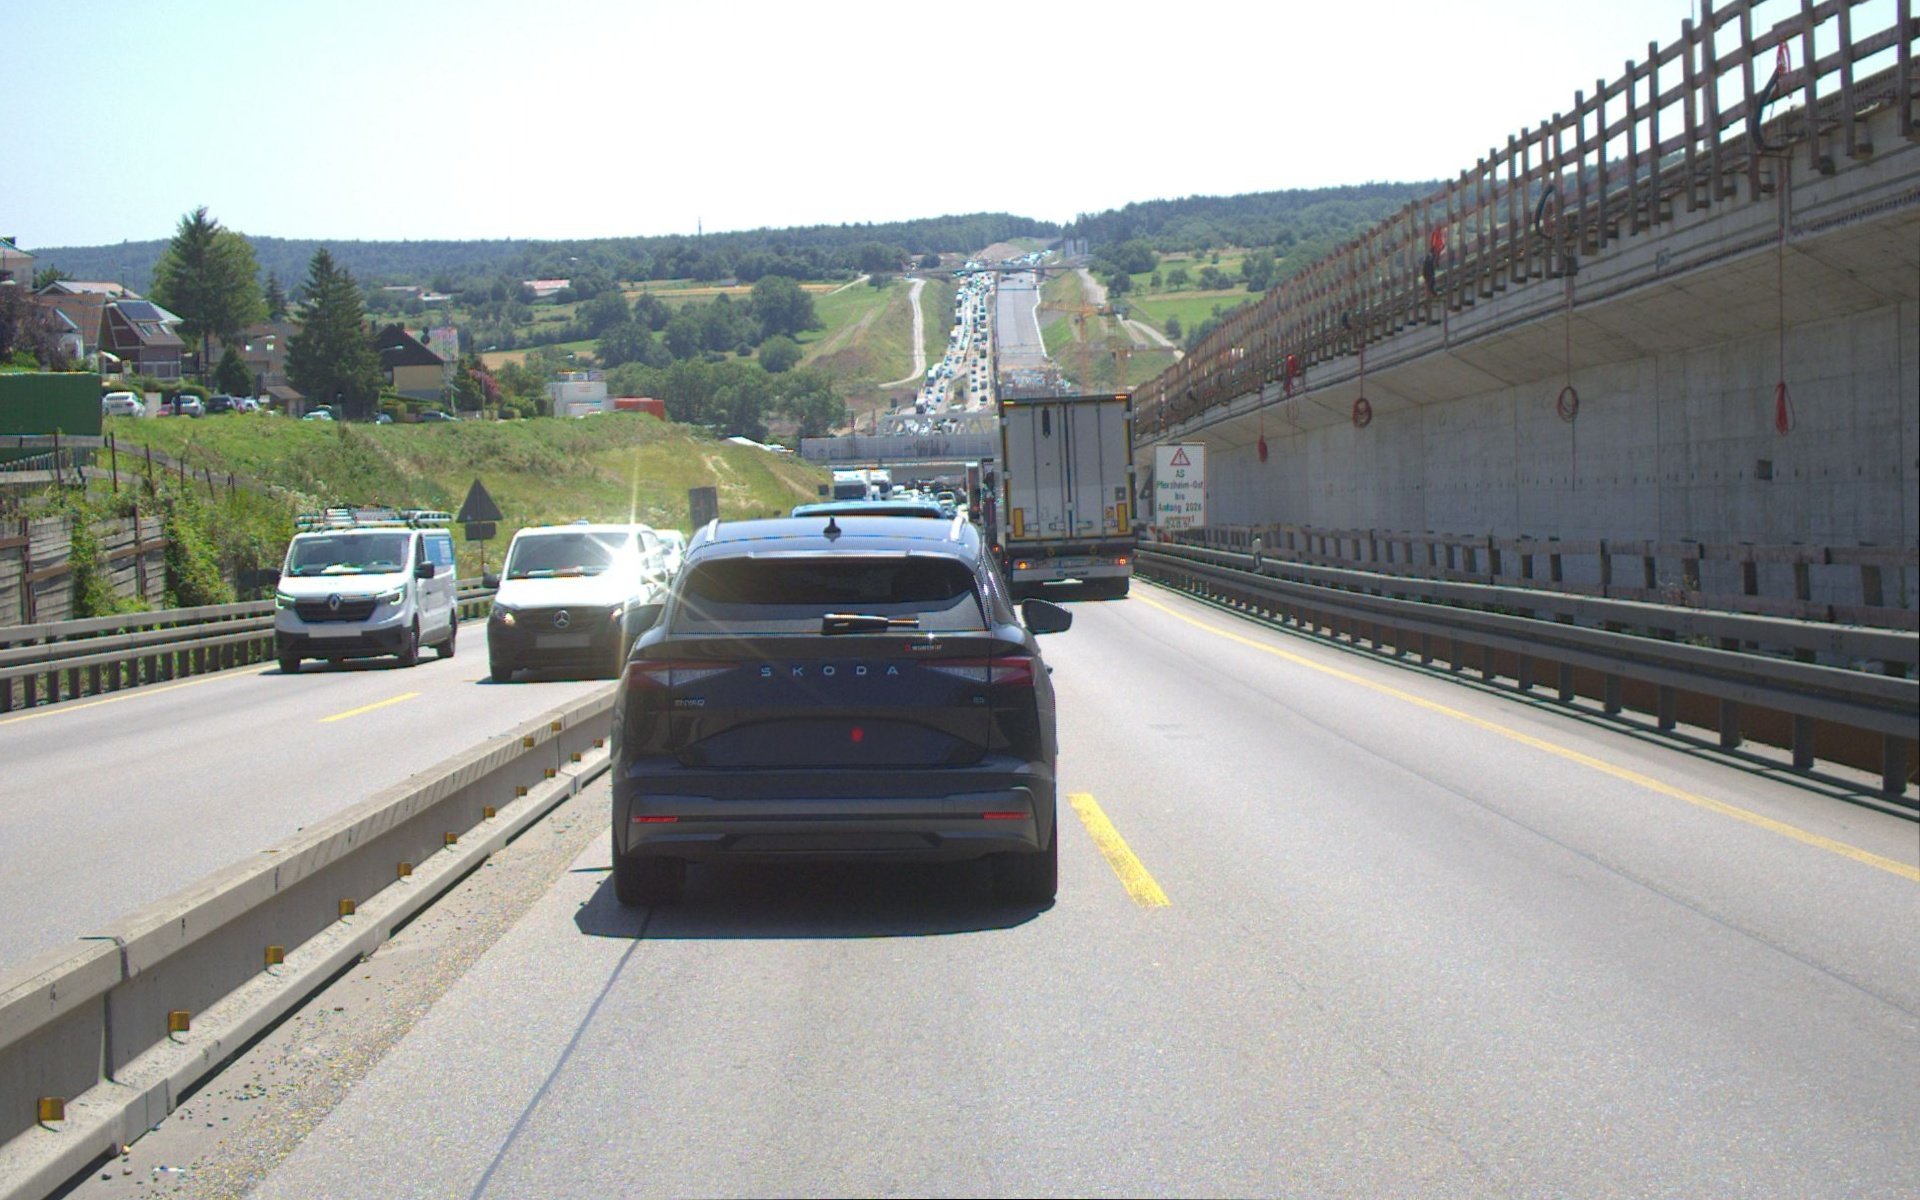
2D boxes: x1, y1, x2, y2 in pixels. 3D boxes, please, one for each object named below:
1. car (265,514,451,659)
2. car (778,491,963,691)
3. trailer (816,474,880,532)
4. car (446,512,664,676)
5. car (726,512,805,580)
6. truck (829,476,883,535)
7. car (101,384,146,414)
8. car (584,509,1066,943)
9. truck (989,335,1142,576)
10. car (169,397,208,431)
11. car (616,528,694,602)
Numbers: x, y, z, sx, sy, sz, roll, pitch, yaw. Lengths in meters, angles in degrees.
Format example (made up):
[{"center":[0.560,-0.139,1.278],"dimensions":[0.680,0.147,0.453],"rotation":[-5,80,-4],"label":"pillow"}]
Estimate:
[{"center":[-8.436,-0.230,48.594],"dimensions":[1.825,1.919,5.244],"rotation":[0,1,-1],"label":"car"},{"center":[-0.924,-0.113,34.369],"dimensions":[1.749,1.889,3.756],"rotation":[0,1,-2],"label":"car"},{"center":[-8.708,-7.412,264.994],"dimensions":[3.220,4.144,13.411],"rotation":[-3,1,-9],"label":"trailer"},{"center":[-4.940,-0.094,42.693],"dimensions":[2.157,1.899,5.326],"rotation":[0,0,-1],"label":"car"},{"center":[-4.790,-1.350,85.271],"dimensions":[1.774,1.628,4.100],"rotation":[-1,1,-1],"label":"car"},{"center":[-7.875,-7.126,259.647],"dimensions":[3.179,4.223,6.486],"rotation":[-2,0,-9],"label":"truck"},{"center":[-42.334,-10.165,174.062],"dimensions":[1.993,1.315,4.001],"rotation":[1,0,-11],"label":"car"},{"center":[-0.552,0.447,14.990],"dimensions":[1.782,1.592,3.755],"rotation":[-2,1,-1],"label":"car"},{"center":[2.092,-2.844,72.609],"dimensions":[2.846,4.599,11.811],"rotation":[-1,0,0],"label":"truck"},{"center":[-43.514,-10.498,193.987],"dimensions":[1.924,1.722,4.001],"rotation":[-2,1,-10],"label":"car"},{"center":[-7.960,-0.925,90.122],"dimensions":[1.596,1.827,4.753],"rotation":[-2,1,-1],"label":"car"}]
